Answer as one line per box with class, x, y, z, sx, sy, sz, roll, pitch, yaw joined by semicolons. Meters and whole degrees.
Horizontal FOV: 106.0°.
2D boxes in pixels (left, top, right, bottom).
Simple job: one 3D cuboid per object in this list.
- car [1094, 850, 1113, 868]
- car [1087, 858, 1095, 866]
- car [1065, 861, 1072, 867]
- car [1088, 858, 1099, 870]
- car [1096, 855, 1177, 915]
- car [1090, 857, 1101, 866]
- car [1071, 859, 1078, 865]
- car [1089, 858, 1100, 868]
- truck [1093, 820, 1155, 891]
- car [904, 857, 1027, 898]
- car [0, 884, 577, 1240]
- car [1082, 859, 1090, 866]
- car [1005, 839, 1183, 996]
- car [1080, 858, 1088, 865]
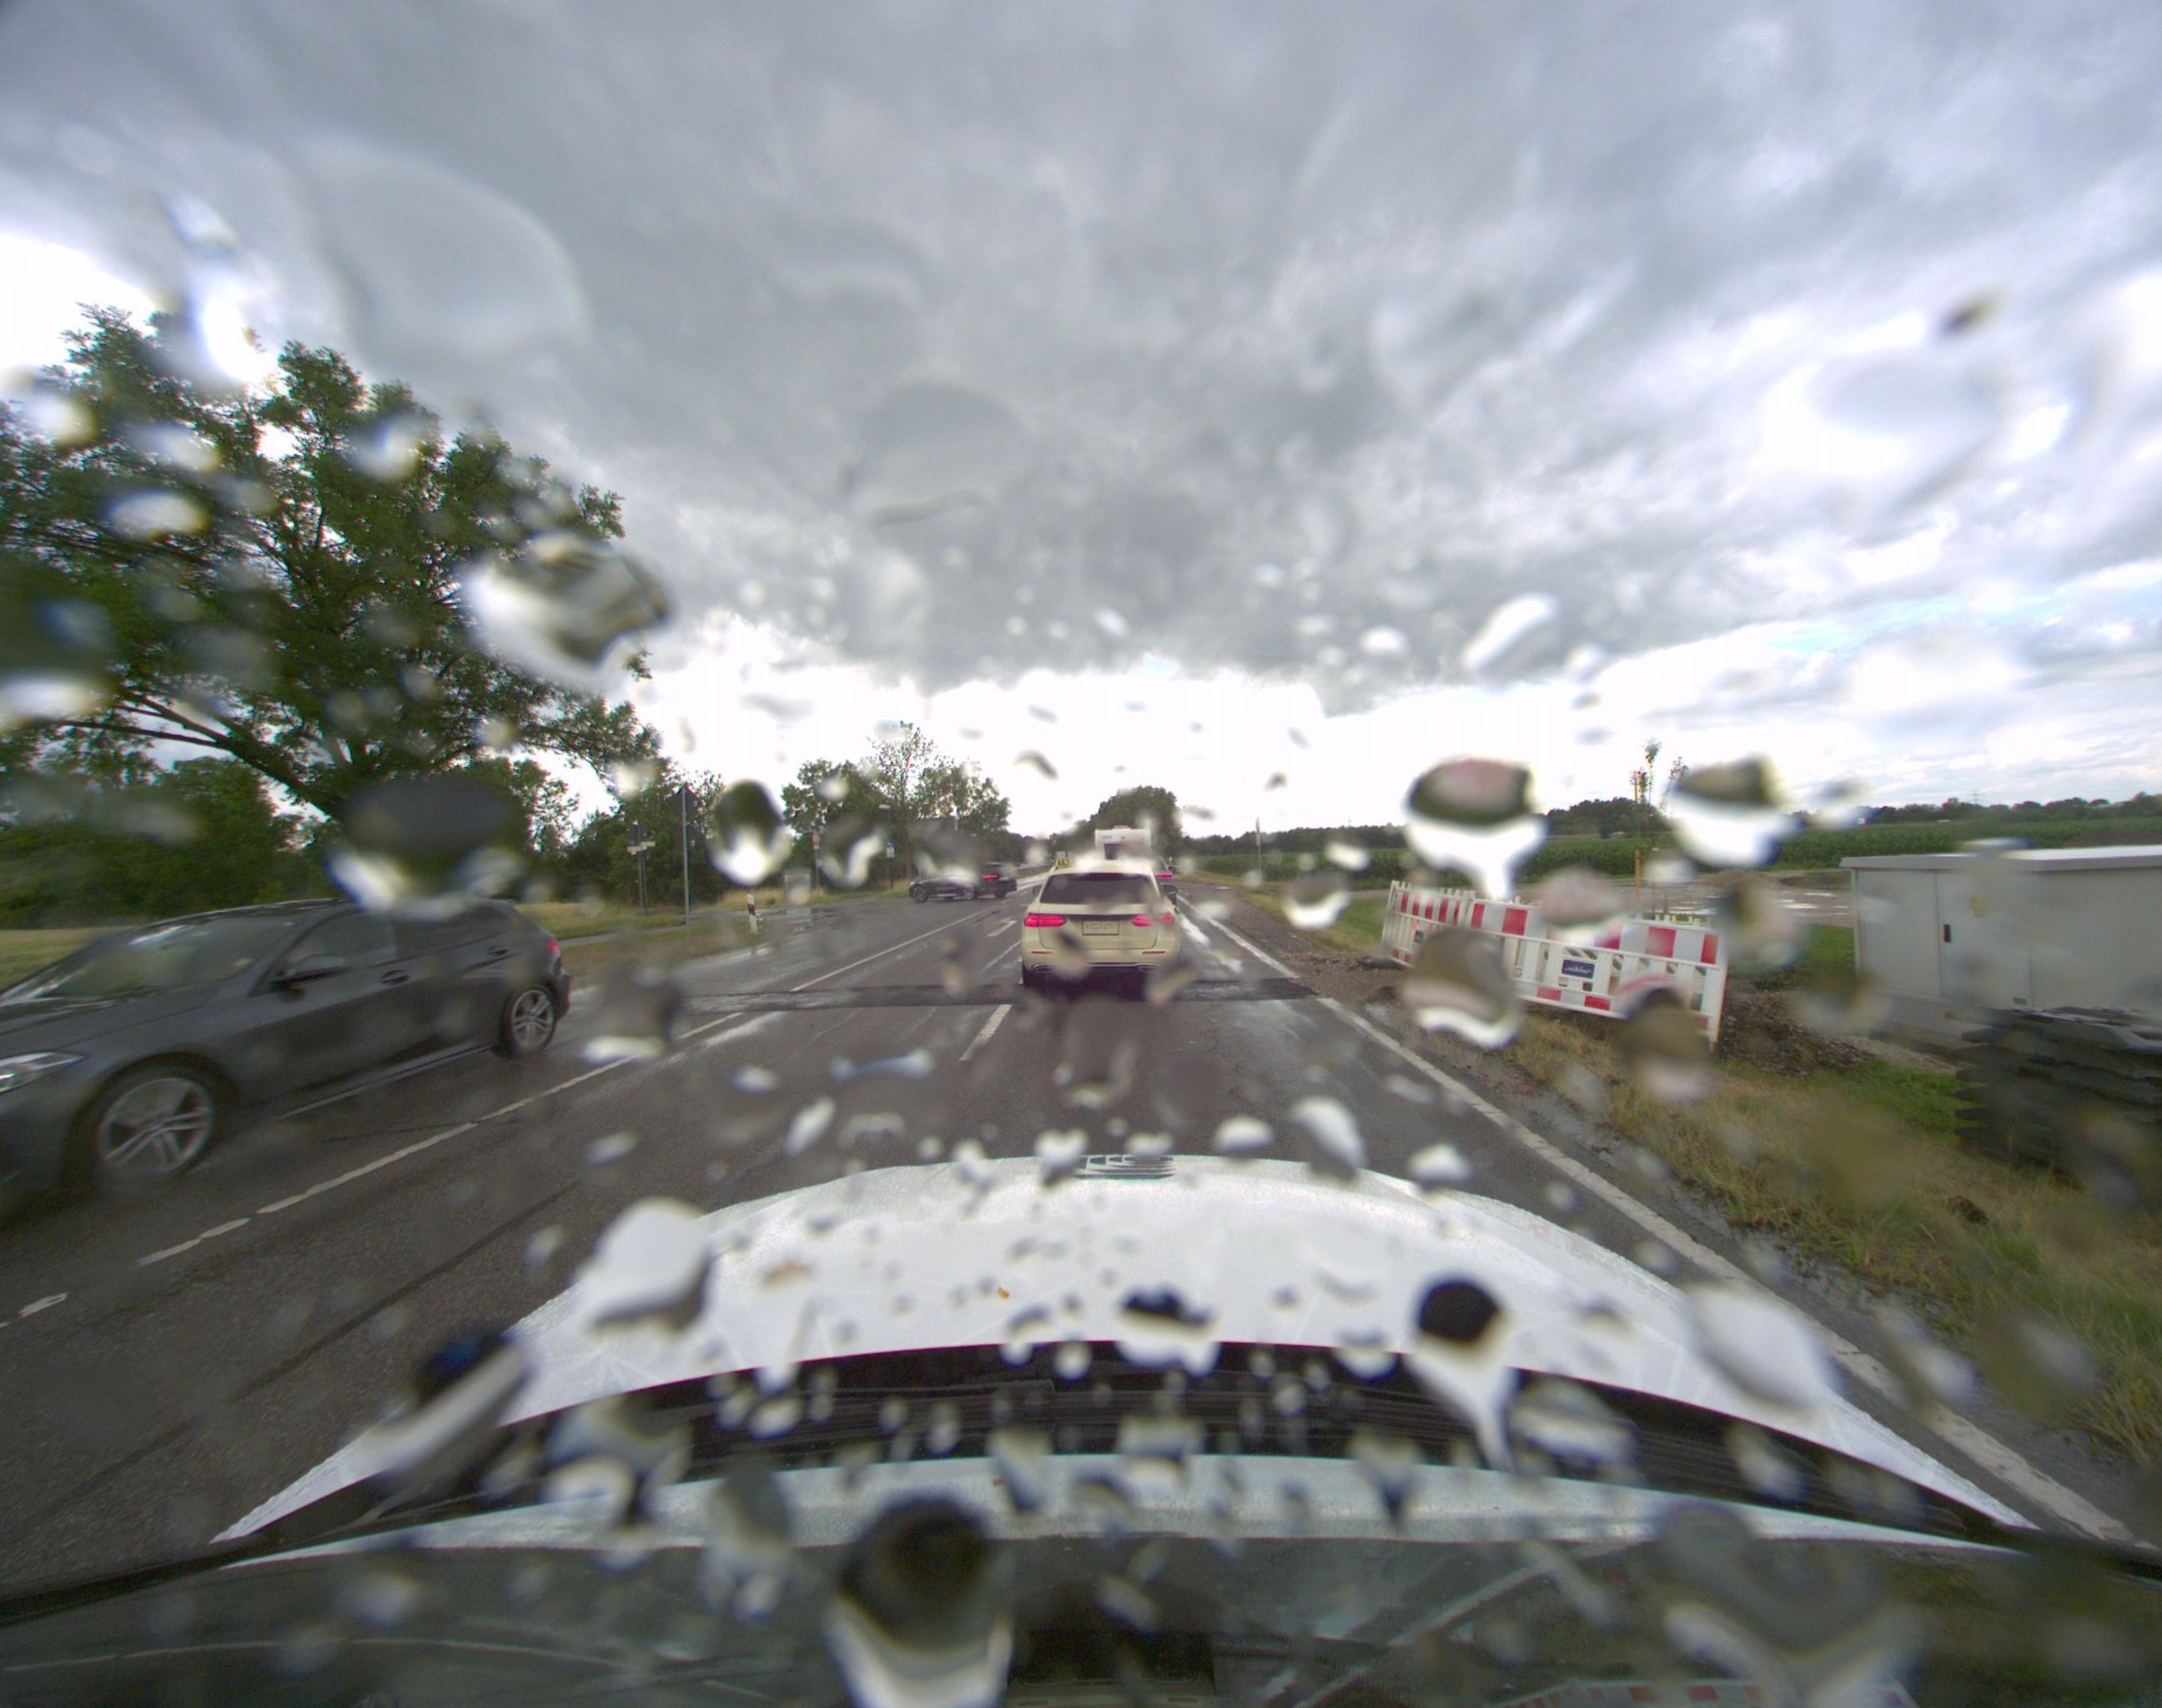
car;2.396;0.541;87.381;1.908;1.841;3.797;-2;0;2
car;2.202;1.776;187.377;1.735;1.860;3.784;-2;0;0
car;-3.386;2.678;224.292;1.821;1.574;4.002;0;-1;2
car;2.044;1.588;132.169;1.784;1.777;3.722;-2;0;2
car;1.438;0.787;22.151;1.986;1.462;4.001;0;-1;2
car;2.866;1.443;160.589;1.988;1.772;3.997;-2;0;-2
car;-2.044;2.383;243.727;1.888;1.839;3.883;-2;0;2
car;2.453;1.637;148.657;1.872;1.761;3.835;-2;0;2
truck;1.816;0.085;36.032;2.355;2.729;7.317;-2;0;2
car;-4.710;0.927;33.118;4.572;1.547;2.324;-1;-1;34
car;-5.497;1.023;5.346;1.713;1.404;4.044;-4;0;1
car;1.246;2.090;201.143;1.744;1.662;3.669;-2;0;-2
car;0.197;0.677;10.539;1.836;1.618;4.001;-1;0;2
car;0.807;1.949;212.943;1.890;1.895;3.841;-2;0;-1
